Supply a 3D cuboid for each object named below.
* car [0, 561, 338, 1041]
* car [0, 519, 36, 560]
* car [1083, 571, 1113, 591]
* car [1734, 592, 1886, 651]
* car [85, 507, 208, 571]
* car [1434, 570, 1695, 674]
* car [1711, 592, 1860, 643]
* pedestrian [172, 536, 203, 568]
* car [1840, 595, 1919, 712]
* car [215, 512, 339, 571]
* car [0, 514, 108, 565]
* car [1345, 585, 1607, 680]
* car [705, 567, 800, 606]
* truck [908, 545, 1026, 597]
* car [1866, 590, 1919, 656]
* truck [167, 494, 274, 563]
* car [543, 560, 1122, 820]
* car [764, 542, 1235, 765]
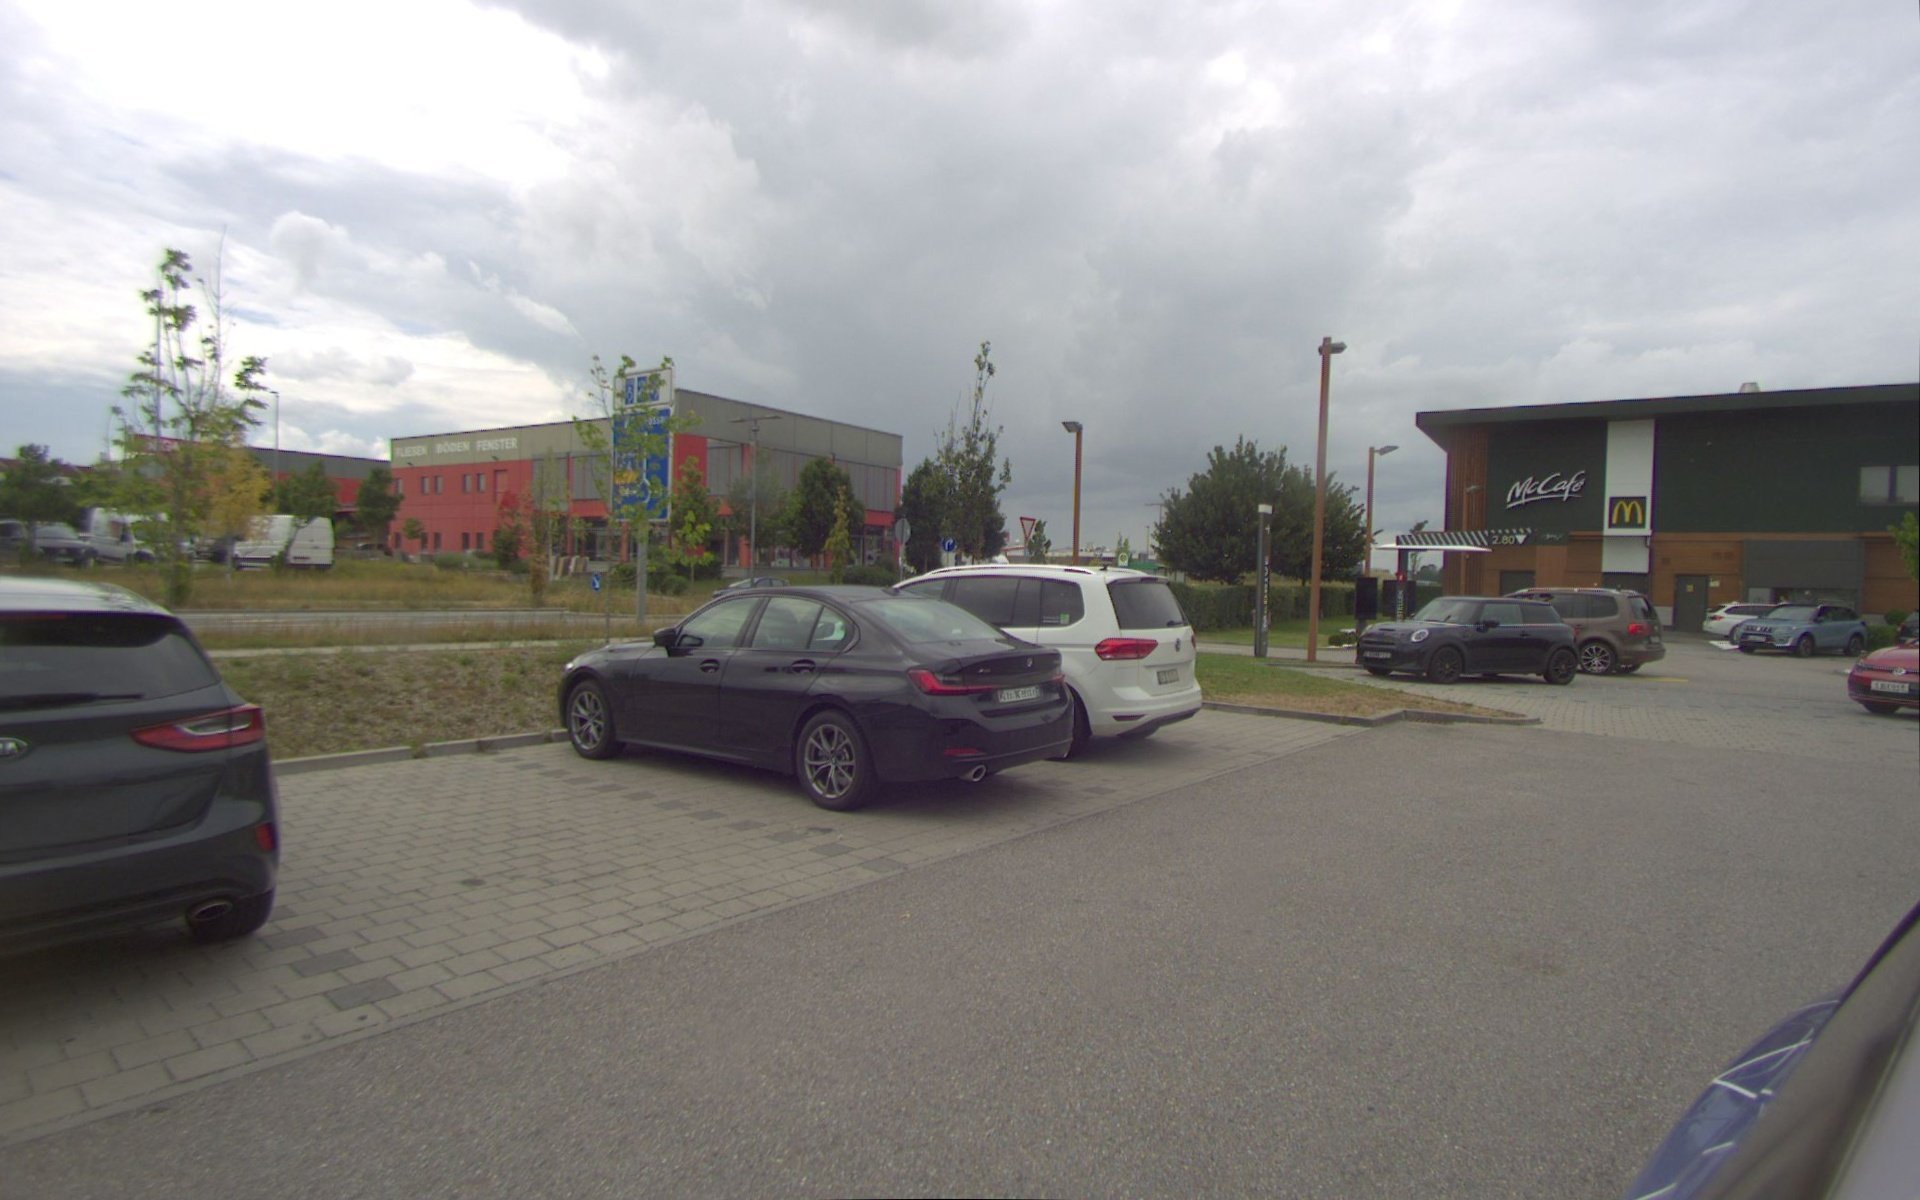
[{"bbox_3d":[-4.409,0.570,4.305,4.053,1.430,1.861,1,0,41],"label":"car"},{"bbox_3d":[-43.704,-2.747,44.733,1.880,1.759,3.950,5,3,35],"label":"car"},{"bbox_3d":[11.798,-1.600,86.241,1.733,1.509,4.103,3,1,20],"label":"car"},{"bbox_3d":[26.201,0.658,31.216,3.822,1.603,1.755,2,3,-18],"label":"car"},{"bbox_3d":[-33.151,-2.504,41.195,6.025,2.241,2.385,5,3,36],"label":"car"},{"bbox_3d":[12.269,0.362,20.770,1.779,1.710,4.187,1,4,-41],"label":"car"},{"bbox_3d":[30.323,0.612,37.352,3.972,1.524,1.768,5,3,33],"label":"car"},{"bbox_3d":[-36.534,-2.254,47.870,0.784,1.446,0.965,5,3,38],"label":"pedestrian"},{"bbox_3d":[14.316,0.775,13.532,3.917,1.482,1.690,2,1,-10],"label":"car"},{"bbox_3d":[-30.370,-2.618,44.930,6.463,2.295,2.317,5,3,34],"label":"car"},{"bbox_3d":[-34.635,-2.337,38.650,5.041,1.659,2.051,5,3,36],"label":"car"},{"bbox_3d":[8.776,0.540,17.280,3.847,1.429,1.691,2,1,-17],"label":"car"},{"bbox_3d":[-8.592,-0.574,42.163,1.649,1.477,3.876,4,3,32],"label":"car"},{"bbox_3d":[0.568,-2.998,102.908,11.929,4.553,3.719,5,3,36],"label":"truck"},{"bbox_3d":[28.477,0.758,29.051,3.915,1.771,2.005,3,2,-21],"label":"car"},{"bbox_3d":[-44.456,-4.345,60.746,8.205,3.788,2.624,5,3,35],"label":"truck"},{"bbox_3d":[-1.175,0.484,7.943,4.492,1.485,1.921,1,0,38],"label":"car"},{"bbox_3d":[0.261,0.383,10.012,4.349,1.734,1.965,1,0,38],"label":"car"}]
